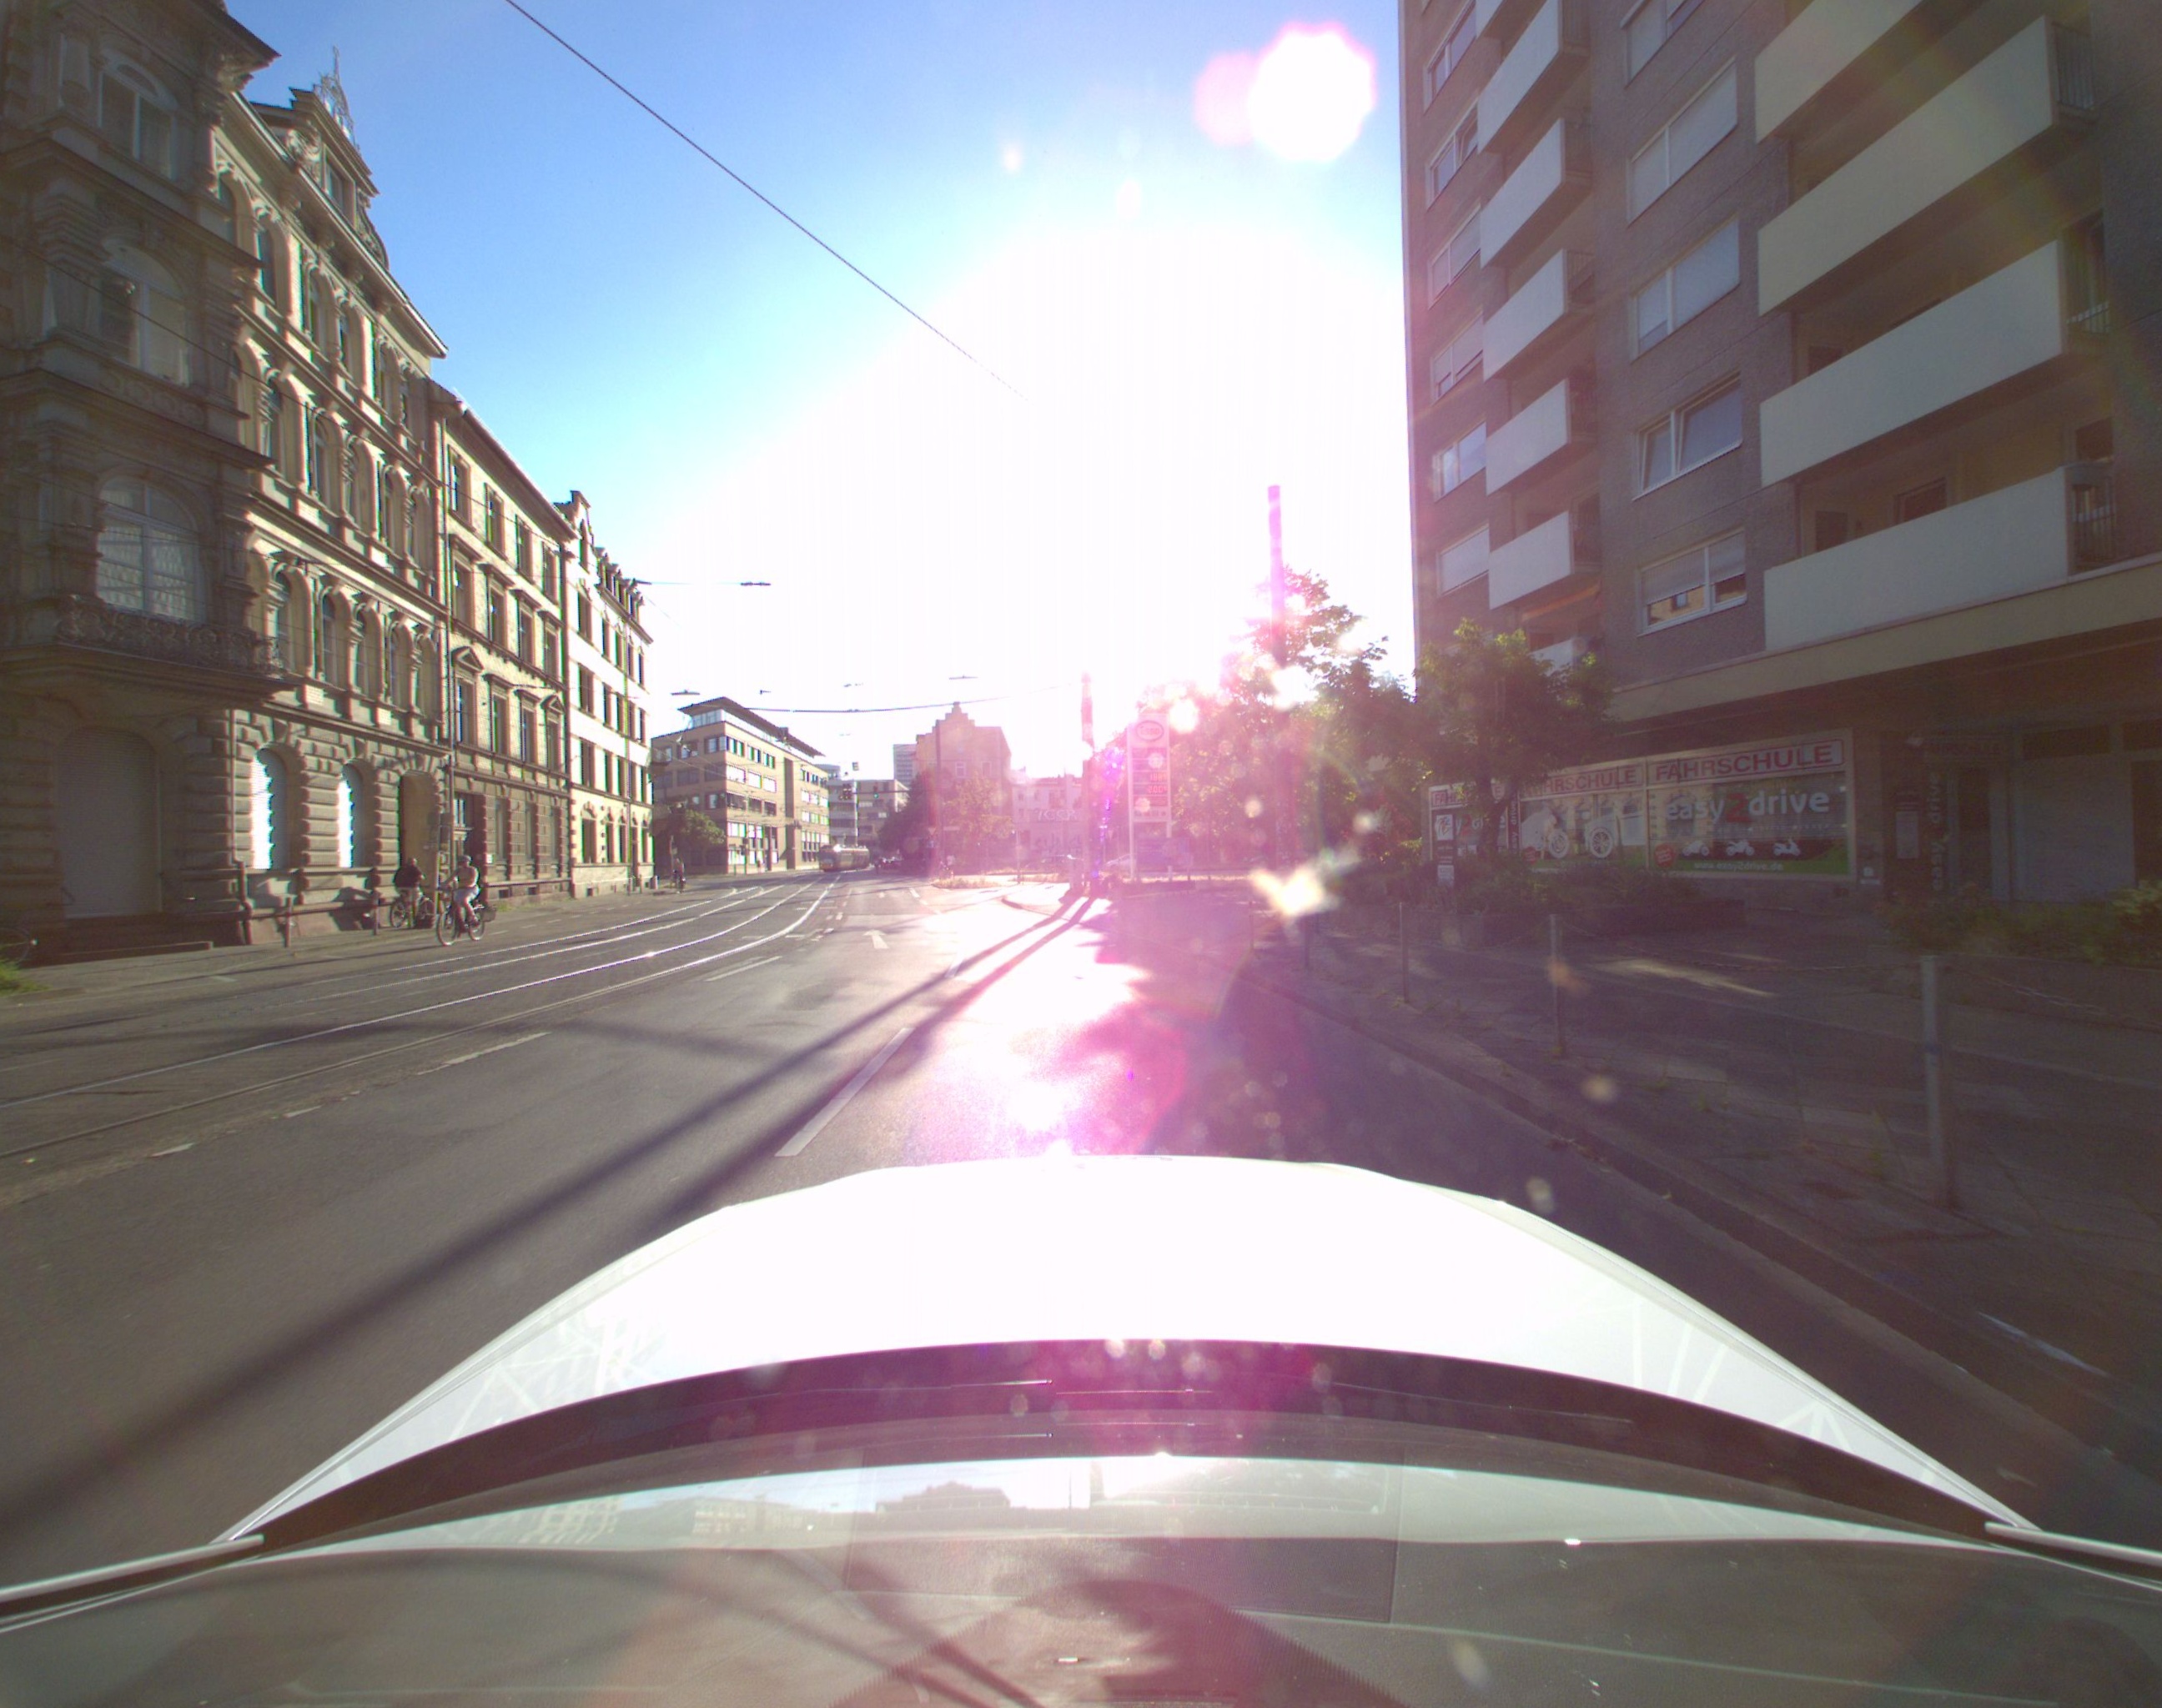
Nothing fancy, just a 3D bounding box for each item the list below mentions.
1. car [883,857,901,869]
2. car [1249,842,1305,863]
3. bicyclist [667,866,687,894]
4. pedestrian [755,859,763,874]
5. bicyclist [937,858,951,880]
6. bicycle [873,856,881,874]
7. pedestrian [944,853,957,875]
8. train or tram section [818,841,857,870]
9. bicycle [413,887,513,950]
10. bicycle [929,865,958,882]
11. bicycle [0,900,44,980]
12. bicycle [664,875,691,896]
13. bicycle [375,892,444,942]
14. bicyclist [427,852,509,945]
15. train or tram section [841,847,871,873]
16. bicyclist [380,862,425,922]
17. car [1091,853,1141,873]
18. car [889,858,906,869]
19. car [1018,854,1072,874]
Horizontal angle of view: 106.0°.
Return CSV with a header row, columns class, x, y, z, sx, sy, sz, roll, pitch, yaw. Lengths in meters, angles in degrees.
class,x,y,z,sx,sy,sz,roll,pitch,yaw
car,-26.276,1.231,113.269,1.992,1.464,3.990,-2,0,-7
car,15.135,-0.147,63.022,3.968,1.453,1.689,-2,0,4
bicyclist,-22.593,1.430,45.536,0.845,1.514,0.797,-2,0,-16
pedestrian,-42.826,1.662,108.304,0.804,1.842,0.734,-2,0,-5
bicyclist,-8.748,0.952,51.974,0.804,1.413,0.622,-2,-1,-11
bicycle,-21.836,1.167,87.069,0.564,1.806,1.356,-2,0,-5
pedestrian,-10.077,0.768,62.866,0.925,1.692,0.775,-2,0,-8
train or tram section,-32.785,0.232,110.305,2.238,3.574,14.247,-2,0,-6
bicycle,-13.236,1.340,17.544,0.884,1.156,2.312,-2,0,-16
bicycle,-8.776,1.243,51.969,1.833,0.984,0.731,-2,0,-11
bicycle,-17.353,1.375,12.451,0.496,1.206,1.803,1,2,40
bicycle,-22.568,1.740,45.563,0.948,1.097,1.987,-2,0,-16
bicycle,-17.563,1.622,21.341,0.502,1.133,2.115,-2,0,-14
bicyclist,-13.266,0.935,17.664,1.031,1.891,1.106,-2,-1,-16
train or tram section,-34.065,0.874,123.820,2.219,3.580,12.184,-2,0,-6
bicyclist,-17.536,0.970,21.067,0.592,1.491,0.699,-2,0,-12
car,2.943,0.758,68.107,3.966,1.507,1.676,-2,0,6
car,-27.850,1.397,123.667,1.992,1.486,3.990,-2,0,-7
car,-2.875,0.799,65.136,3.965,1.453,1.813,-2,0,7
